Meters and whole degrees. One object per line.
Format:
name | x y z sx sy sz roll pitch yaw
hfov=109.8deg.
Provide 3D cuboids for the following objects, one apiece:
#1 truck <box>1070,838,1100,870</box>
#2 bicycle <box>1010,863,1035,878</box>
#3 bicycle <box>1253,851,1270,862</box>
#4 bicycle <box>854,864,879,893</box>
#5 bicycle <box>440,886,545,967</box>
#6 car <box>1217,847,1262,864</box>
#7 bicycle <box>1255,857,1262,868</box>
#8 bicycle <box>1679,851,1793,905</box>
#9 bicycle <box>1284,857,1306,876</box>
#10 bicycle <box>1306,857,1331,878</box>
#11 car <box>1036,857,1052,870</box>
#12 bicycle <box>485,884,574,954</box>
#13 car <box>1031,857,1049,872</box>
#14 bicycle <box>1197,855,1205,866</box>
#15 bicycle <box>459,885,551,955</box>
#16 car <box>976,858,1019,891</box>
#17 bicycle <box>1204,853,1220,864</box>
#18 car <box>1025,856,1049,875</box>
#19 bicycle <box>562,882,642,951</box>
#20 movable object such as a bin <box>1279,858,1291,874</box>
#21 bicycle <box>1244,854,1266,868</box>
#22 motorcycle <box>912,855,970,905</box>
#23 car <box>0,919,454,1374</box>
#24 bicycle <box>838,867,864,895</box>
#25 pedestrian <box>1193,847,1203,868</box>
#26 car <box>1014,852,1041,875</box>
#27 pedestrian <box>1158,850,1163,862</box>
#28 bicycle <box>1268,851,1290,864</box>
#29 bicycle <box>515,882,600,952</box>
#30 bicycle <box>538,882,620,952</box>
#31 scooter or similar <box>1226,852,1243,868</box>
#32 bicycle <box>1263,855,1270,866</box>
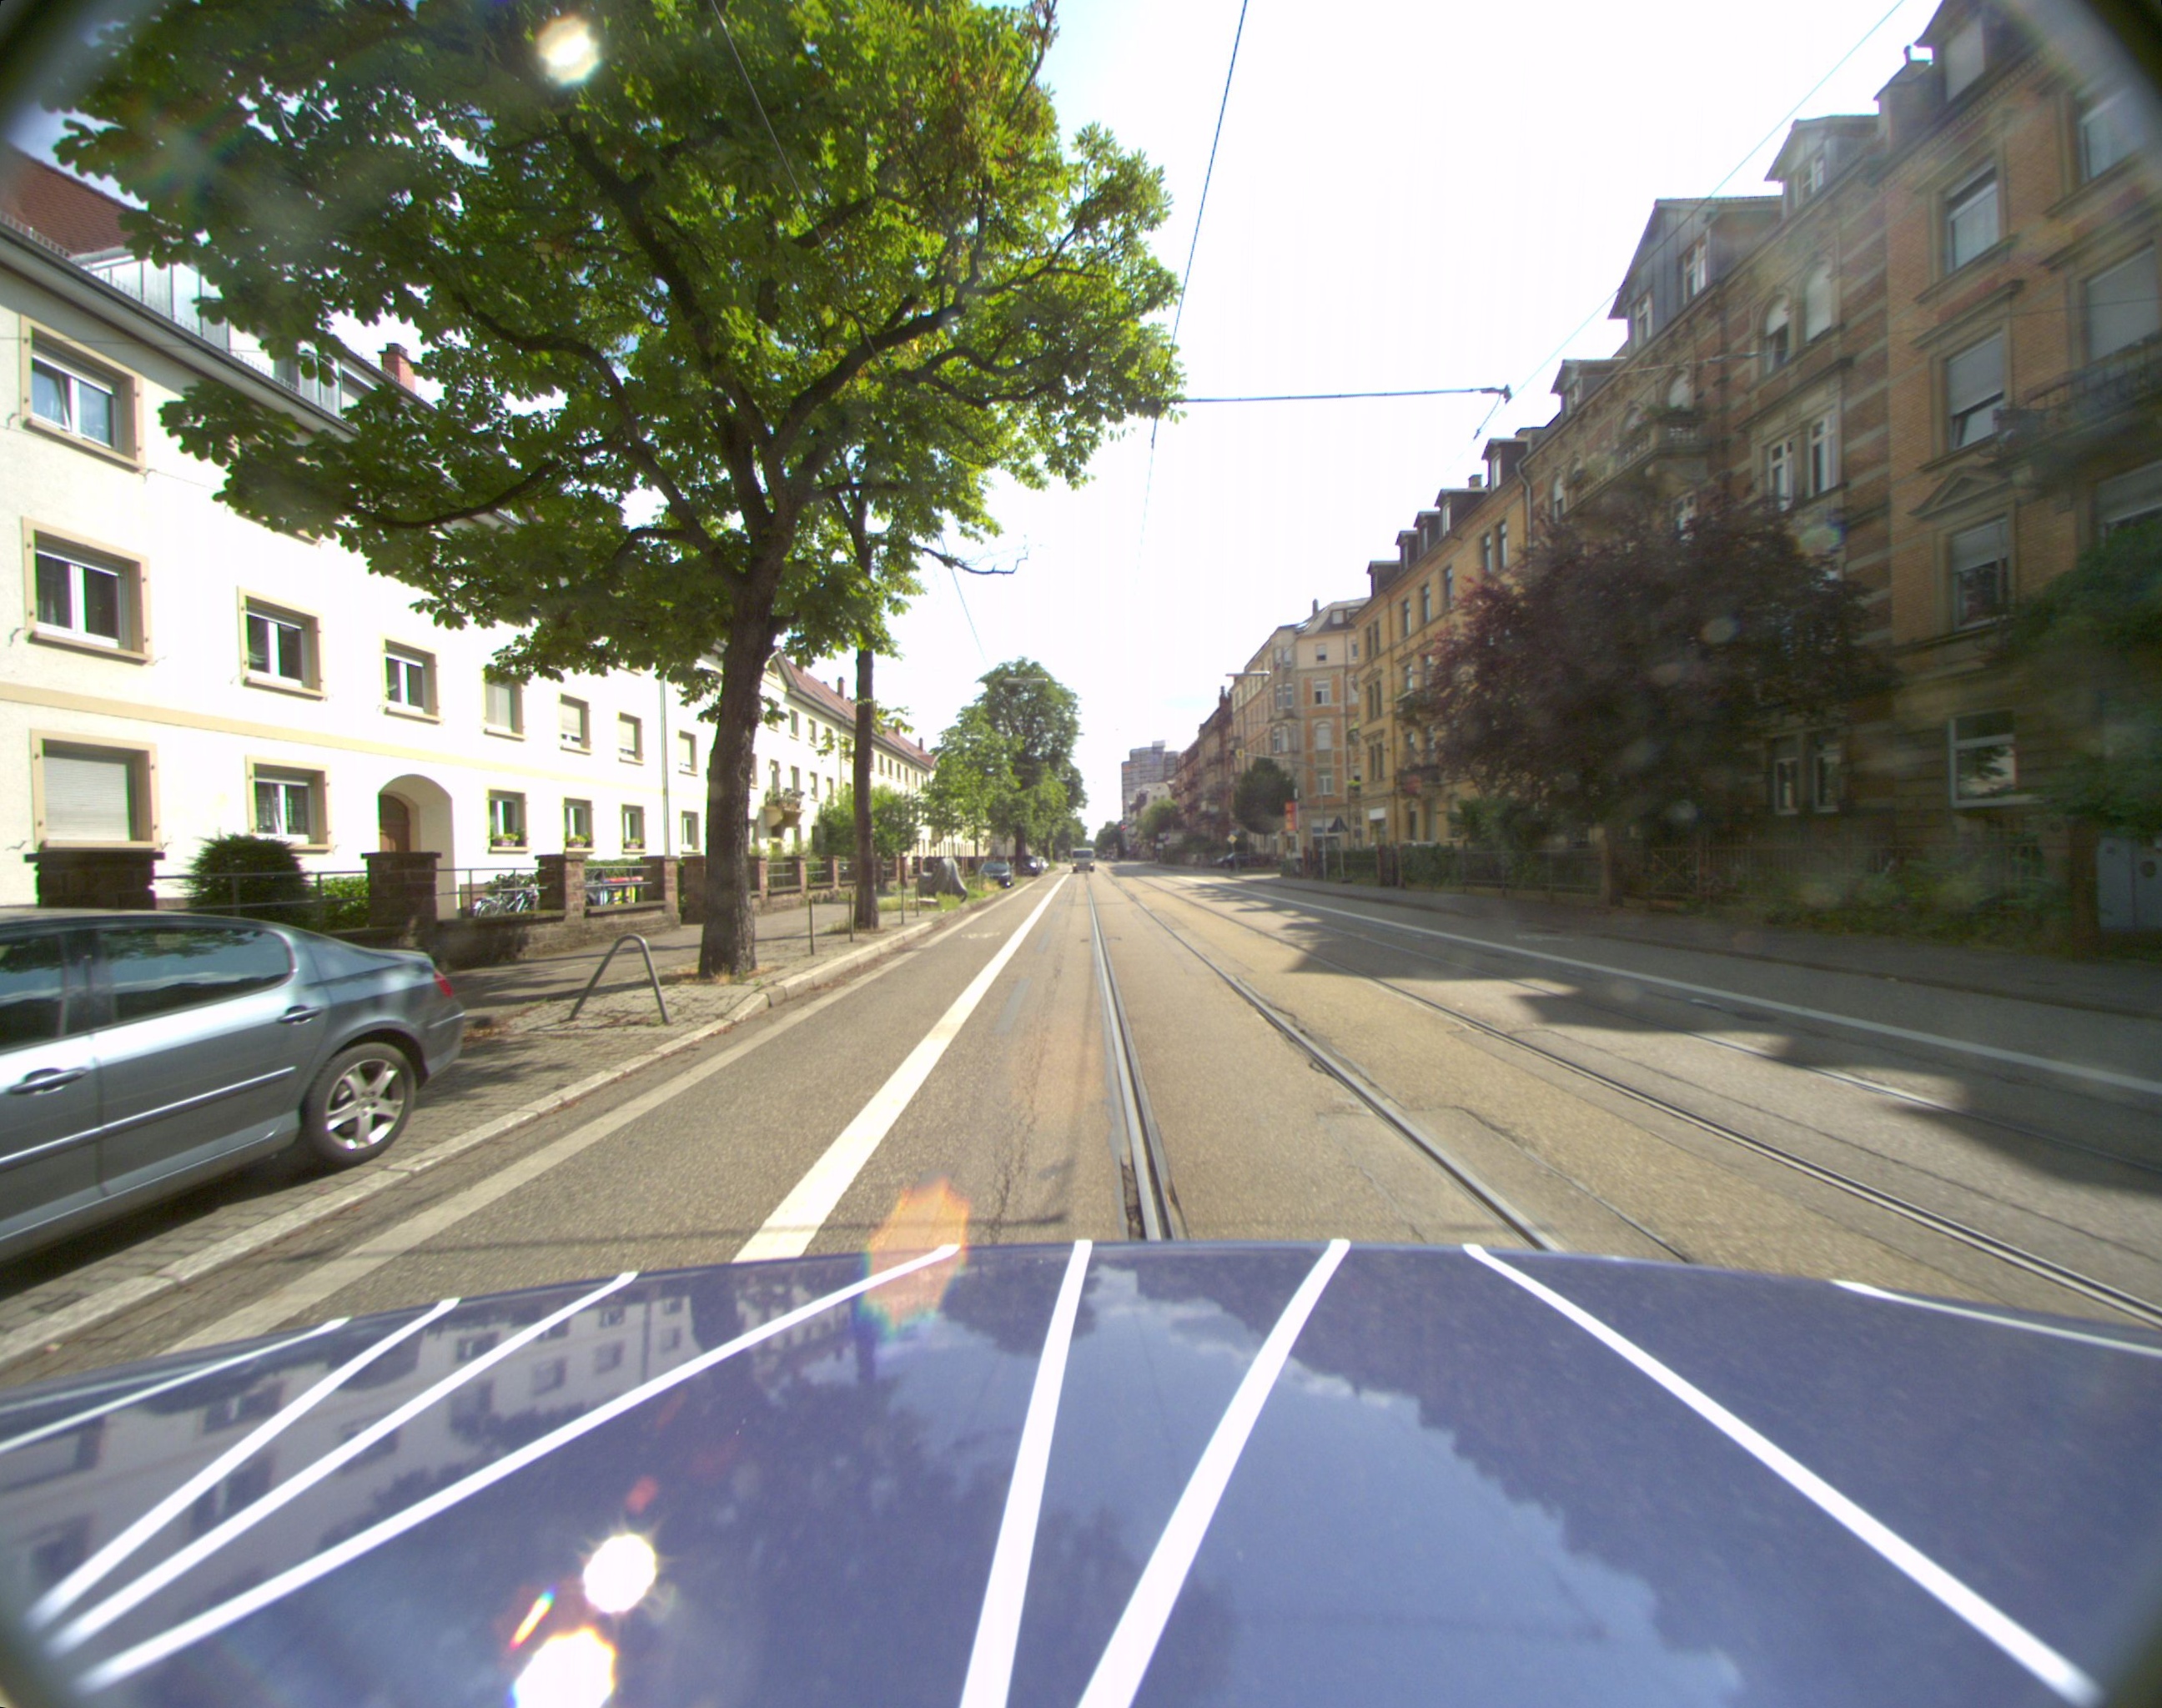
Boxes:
truck | 0.338 0.027 71.090 2.532 2.721 6.514 -2 0 -1
bicycle | -4.274 1.193 55.740 1.712 1.001 0.638 -2 0 0
bicycle | 16.674 0.194 70.059 1.456 0.971 0.404 -2 0 0
bicycle | -9.593 1.084 33.997 0.601 1.204 1.704 -2 0 1
bicycle | -10.042 1.198 13.033 0.413 1.204 1.704 -2 0 1
car | 14.146 0.123 67.947 3.611 1.394 1.787 -2 0 4
bicycle | 14.446 0.694 61.916 0.524 0.833 1.700 -2 -1 13
bicycle | 13.353 0.481 15.496 2.211 1.013 0.467 -2 1 -10
bicycle | 11.162 0.656 39.655 0.531 0.941 1.968 -2 0 0
bicycle | 11.190 0.641 35.792 0.531 0.941 1.968 -2 0 0
car | -4.379 1.120 90.159 1.665 1.512 4.287 -2 0 -1
bicycle | -10.609 1.216 14.690 0.413 1.204 1.704 -2 0 1
car | -4.388 1.112 81.890 1.746 1.571 4.248 -2 0 -1
bicycle | 11.335 0.598 71.898 0.422 0.971 1.949 -2 0 0
bicycle | -11.046 1.233 14.643 0.413 1.204 1.704 -2 0 1
car | -4.421 1.051 40.654 1.710 1.470 4.196 -4 0 0
bicycle | 12.001 0.446 69.627 1.456 0.971 0.404 -2 0 0
car | -4.034 1.012 70.451 1.867 1.643 4.637 -2 0 0
bicycle | -9.284 1.178 14.789 0.413 1.204 1.704 -2 0 1
movable object such as a bin | 11.744 0.684 43.732 0.526 0.900 0.636 -2 0 -1
bicycle | 14.622 0.601 63.907 1.759 1.057 0.524 -2 0 -5
motorcycle | -4.715 0.854 25.490 0.680 1.588 2.380 -3 1 -43
car | -4.677 1.109 2.420 1.851 1.401 4.393 0 0 -3
bicycle | -10.299 1.192 34.023 0.601 1.204 1.704 -2 0 1
pedestrian | 9.888 0.266 64.255 0.534 1.750 1.105 -4 0 0
car | -4.212 0.746 60.586 1.832 1.772 4.733 -2 0 0
pedestrian | 11.130 0.262 106.466 0.489 1.693 1.151 -2 0 -2
bicycle | 16.482 0.291 63.296 1.695 1.057 0.525 -2 0 11
bicycle | -10.138 1.188 14.788 0.413 1.204 1.704 -2 0 1
bicycle | -9.706 1.188 14.757 0.413 1.204 1.704 -2 0 1
scooter or similar | 12.354 0.517 61.215 1.367 1.228 0.403 -3 1 -28
bicycle | 14.981 0.510 61.413 0.524 0.833 1.700 -2 -1 13
